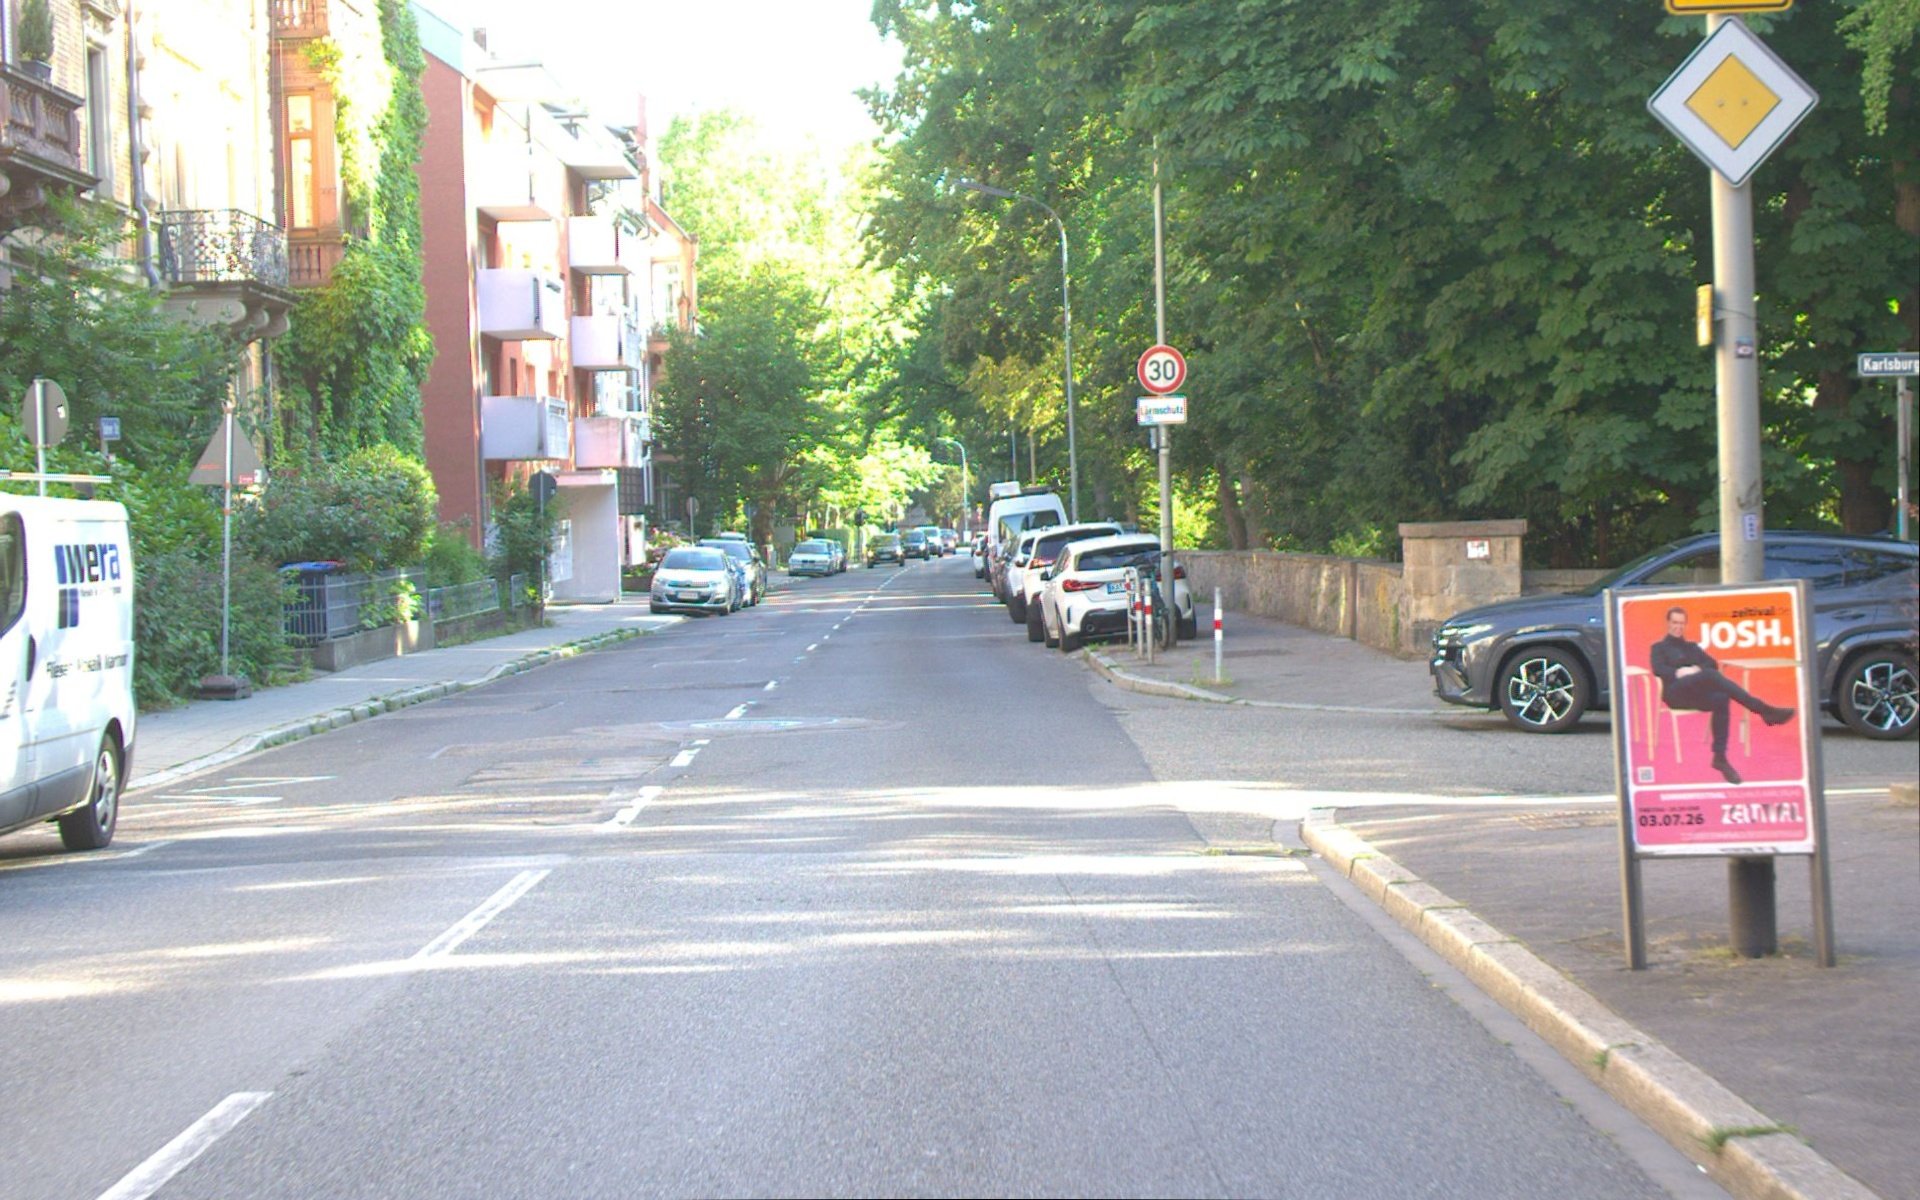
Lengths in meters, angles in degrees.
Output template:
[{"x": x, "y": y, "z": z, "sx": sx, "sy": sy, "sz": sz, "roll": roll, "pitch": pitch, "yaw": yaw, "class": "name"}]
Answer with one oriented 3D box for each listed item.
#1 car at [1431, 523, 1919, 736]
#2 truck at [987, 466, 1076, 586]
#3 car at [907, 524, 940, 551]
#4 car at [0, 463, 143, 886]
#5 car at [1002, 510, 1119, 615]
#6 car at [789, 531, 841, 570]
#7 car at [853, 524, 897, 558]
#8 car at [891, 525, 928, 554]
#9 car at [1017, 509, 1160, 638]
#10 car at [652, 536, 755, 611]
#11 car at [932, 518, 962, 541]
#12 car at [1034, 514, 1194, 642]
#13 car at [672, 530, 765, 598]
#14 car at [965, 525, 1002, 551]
[{"x": 6.123, "y": 0.210, "z": 28.288, "sx": 4.438, "sy": 1.647, "sz": 2.000, "roll": 0, "pitch": 2, "yaw": 8, "class": "car"}, {"x": 1.795, "y": -1.915, "z": 87.314, "sx": 1.993, "sy": 2.886, "sz": 4.471, "roll": -2, "pitch": 2, "yaw": -1, "class": "truck"}, {"x": -2.324, "y": -3.968, "z": 217.622, "sx": 1.993, "sy": 1.486, "sz": 4.471, "roll": -2, "pitch": 2, "yaw": 0, "class": "car"}, {"x": -5.466, "y": 0.335, "z": 17.074, "sx": 1.793, "sy": 2.003, "sz": 4.698, "roll": 0, "pitch": 1, "yaw": -1, "class": "car"}, {"x": 1.801, "y": -0.709, "z": 62.339, "sx": 1.993, "sy": 1.731, "sz": 4.000, "roll": -2, "pitch": 2, "yaw": 1, "class": "car"}, {"x": -6.111, "y": -2.105, "z": 145.144, "sx": 1.993, "sy": 1.486, "sz": 4.471, "roll": -2, "pitch": 2, "yaw": 0, "class": "car"}, {"x": -4.133, "y": -2.901, "z": 167.583, "sx": 1.993, "sy": 1.486, "sz": 4.471, "roll": -2, "pitch": 2, "yaw": 0, "class": "car"}, {"x": -2.889, "y": -3.481, "z": 197.565, "sx": 1.993, "sy": 1.486, "sz": 4.471, "roll": -2, "pitch": 2, "yaw": 0, "class": "car"}, {"x": 1.896, "y": -0.433, "z": 51.658, "sx": 1.993, "sy": 1.731, "sz": 4.000, "roll": -2, "pitch": 2, "yaw": 1, "class": "car"}, {"x": -5.814, "y": -0.632, "z": 78.351, "sx": 1.993, "sy": 1.486, "sz": 4.471, "roll": -2, "pitch": 2, "yaw": 0, "class": "car"}, {"x": -0.929, "y": -4.912, "z": 239.747, "sx": 1.993, "sy": 1.486, "sz": 4.471, "roll": -2, "pitch": 2, "yaw": 0, "class": "car"}, {"x": 2.019, "y": -0.332, "z": 46.158, "sx": 1.993, "sy": 1.512, "sz": 4.000, "roll": -2, "pitch": 2, "yaw": 1, "class": "car"}, {"x": -5.998, "y": -0.917, "z": 85.886, "sx": 1.993, "sy": 1.486, "sz": 4.471, "roll": -2, "pitch": 2, "yaw": 0, "class": "car"}, {"x": 1.446, "y": -3.846, "z": 212.998, "sx": 1.993, "sy": 1.486, "sz": 4.471, "roll": -2, "pitch": 2, "yaw": -3, "class": "car"}]
